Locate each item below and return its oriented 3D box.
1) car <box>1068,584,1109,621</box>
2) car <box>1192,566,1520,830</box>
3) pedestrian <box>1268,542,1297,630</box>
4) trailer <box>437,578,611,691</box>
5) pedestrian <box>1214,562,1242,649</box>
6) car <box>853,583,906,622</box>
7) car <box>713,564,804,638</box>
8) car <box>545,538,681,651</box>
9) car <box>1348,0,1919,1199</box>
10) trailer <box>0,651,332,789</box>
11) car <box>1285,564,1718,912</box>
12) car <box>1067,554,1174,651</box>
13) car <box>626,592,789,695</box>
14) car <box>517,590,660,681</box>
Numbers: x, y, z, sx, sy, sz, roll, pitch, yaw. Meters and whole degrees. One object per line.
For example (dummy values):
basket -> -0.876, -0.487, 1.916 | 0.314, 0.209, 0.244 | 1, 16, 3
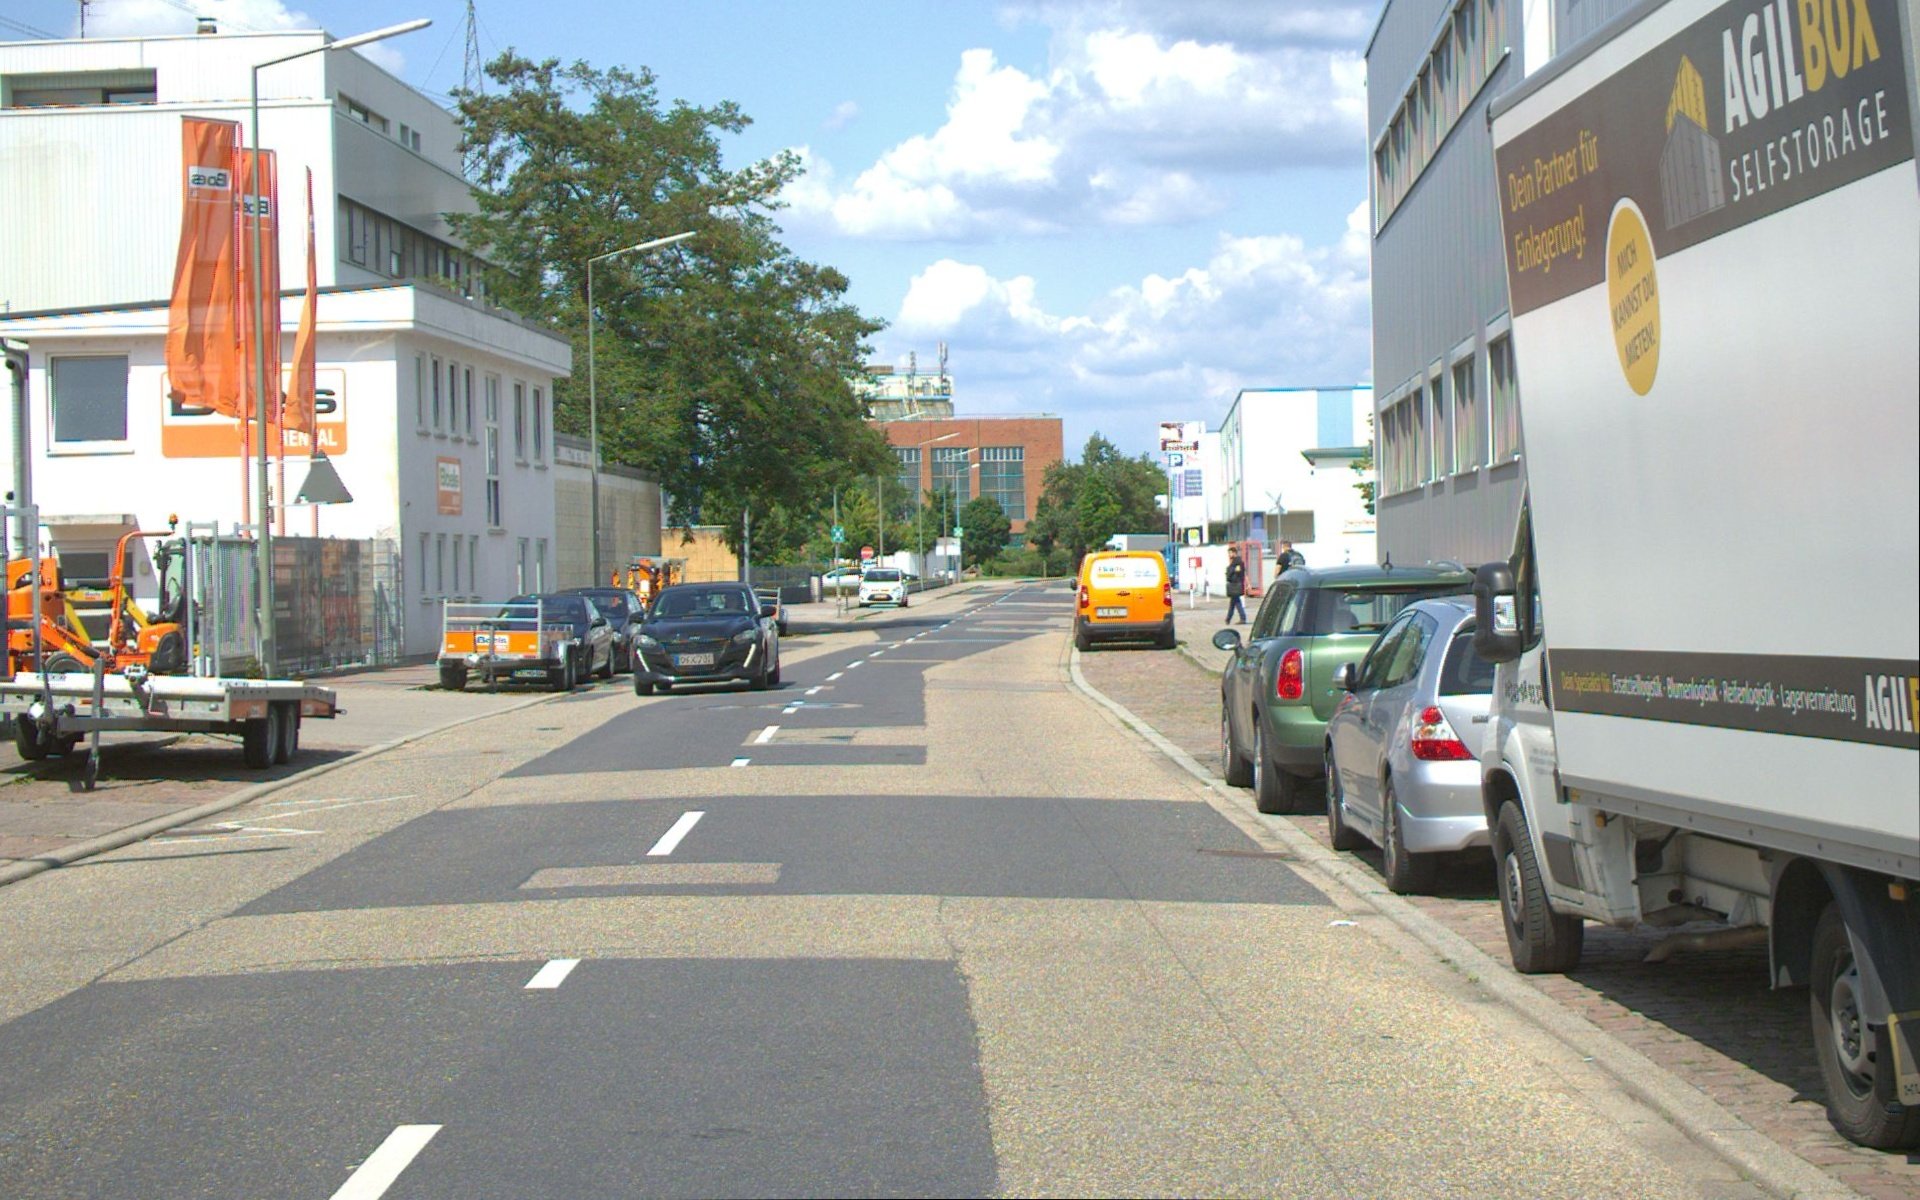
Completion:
car -> 6.290, 0.134, 168.209 | 1.940, 1.736, 4.376 | -1, 0, 2
car -> 2.558, 0.610, 23.013 | 1.768, 1.607, 3.873 | 0, 0, 1
pedestrian -> 7.517, -0.330, 80.088 | 0.589, 2.044, 0.702 | 0, 0, -1
trailer -> -6.195, 0.471, 49.263 | 1.993, 1.551, 4.253 | 0, 0, -1
pedestrian -> 6.201, 0.129, 79.517 | 0.589, 2.007, 0.618 | 0, 0, -2
car -> -3.302, 0.106, 141.724 | 1.810, 1.558, 3.999 | 1, 0, 3
car -> -5.118, 0.037, 87.788 | 1.922, 1.788, 4.000 | 1, 0, 2
car -> -6.474, -0.092, 64.609 | 1.993, 2.007, 4.000 | 1, 0, 2
car -> 3.048, -0.304, 10.624 | 2.388, 3.351, 6.646 | -3, 0, -4
trailer -> -6.790, 0.925, 28.006 | 2.362, 0.890, 5.569 | 2, 0, -1
car -> 2.668, 0.627, 17.749 | 1.567, 1.568, 4.069 | -1, 0, 0
car -> 3.008, 0.056, 65.162 | 1.940, 1.736, 4.376 | -1, 0, 2
car -> -3.279, 0.549, 45.262 | 1.918, 1.280, 3.615 | -1, 0, -1
car -> -6.212, 0.593, 57.800 | 1.825, 1.437, 4.000 | 1, 0, 2
